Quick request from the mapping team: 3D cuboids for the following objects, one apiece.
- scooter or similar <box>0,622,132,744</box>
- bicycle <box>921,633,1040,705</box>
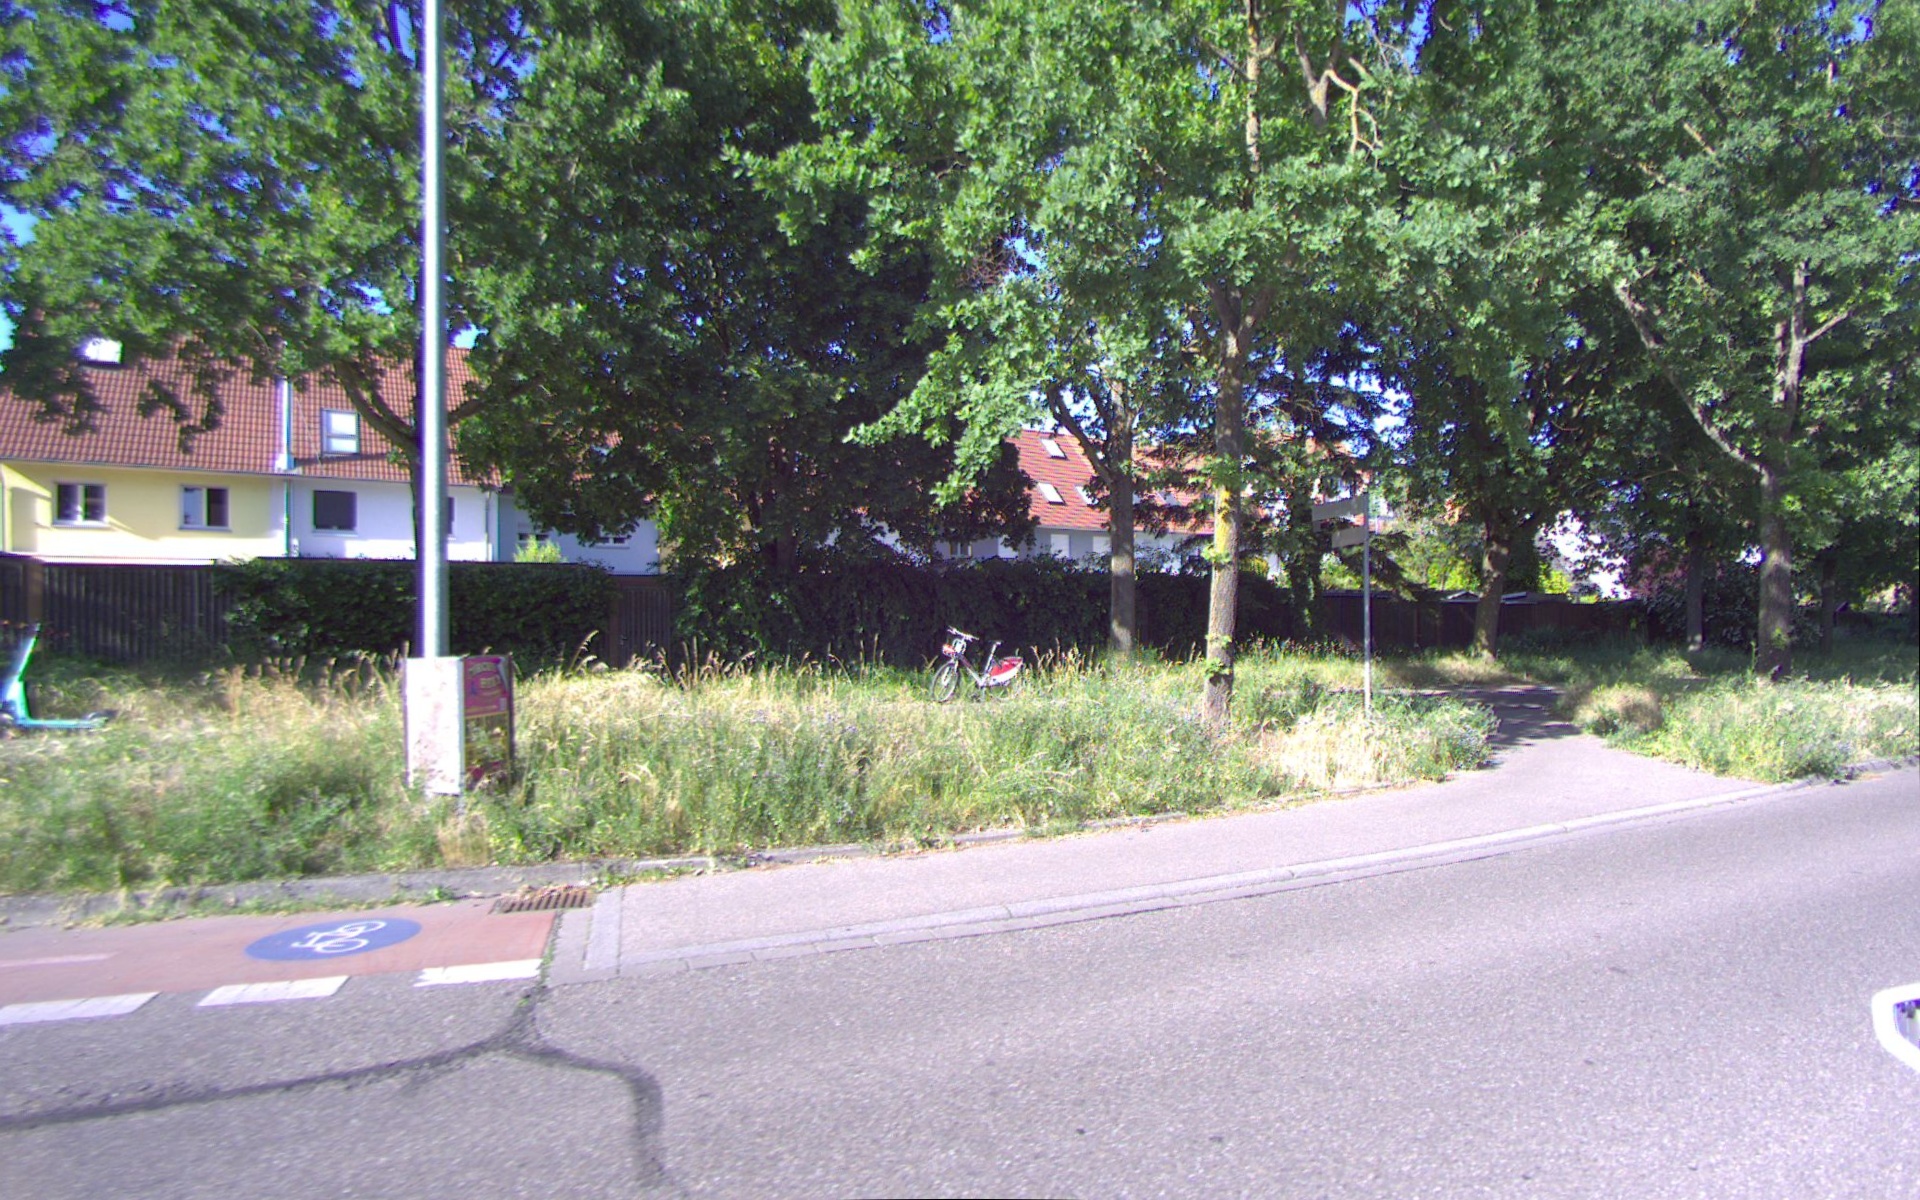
[{"bbox_3d":[-9.831,0.870,10.740,1.390,1.235,0.539,0,2,-15],"label":"scooter or similar"},{"bbox_3d":[0.334,1.051,15.644,1.858,1.067,0.503,1,-1,-31],"label":"bicycle"}]
